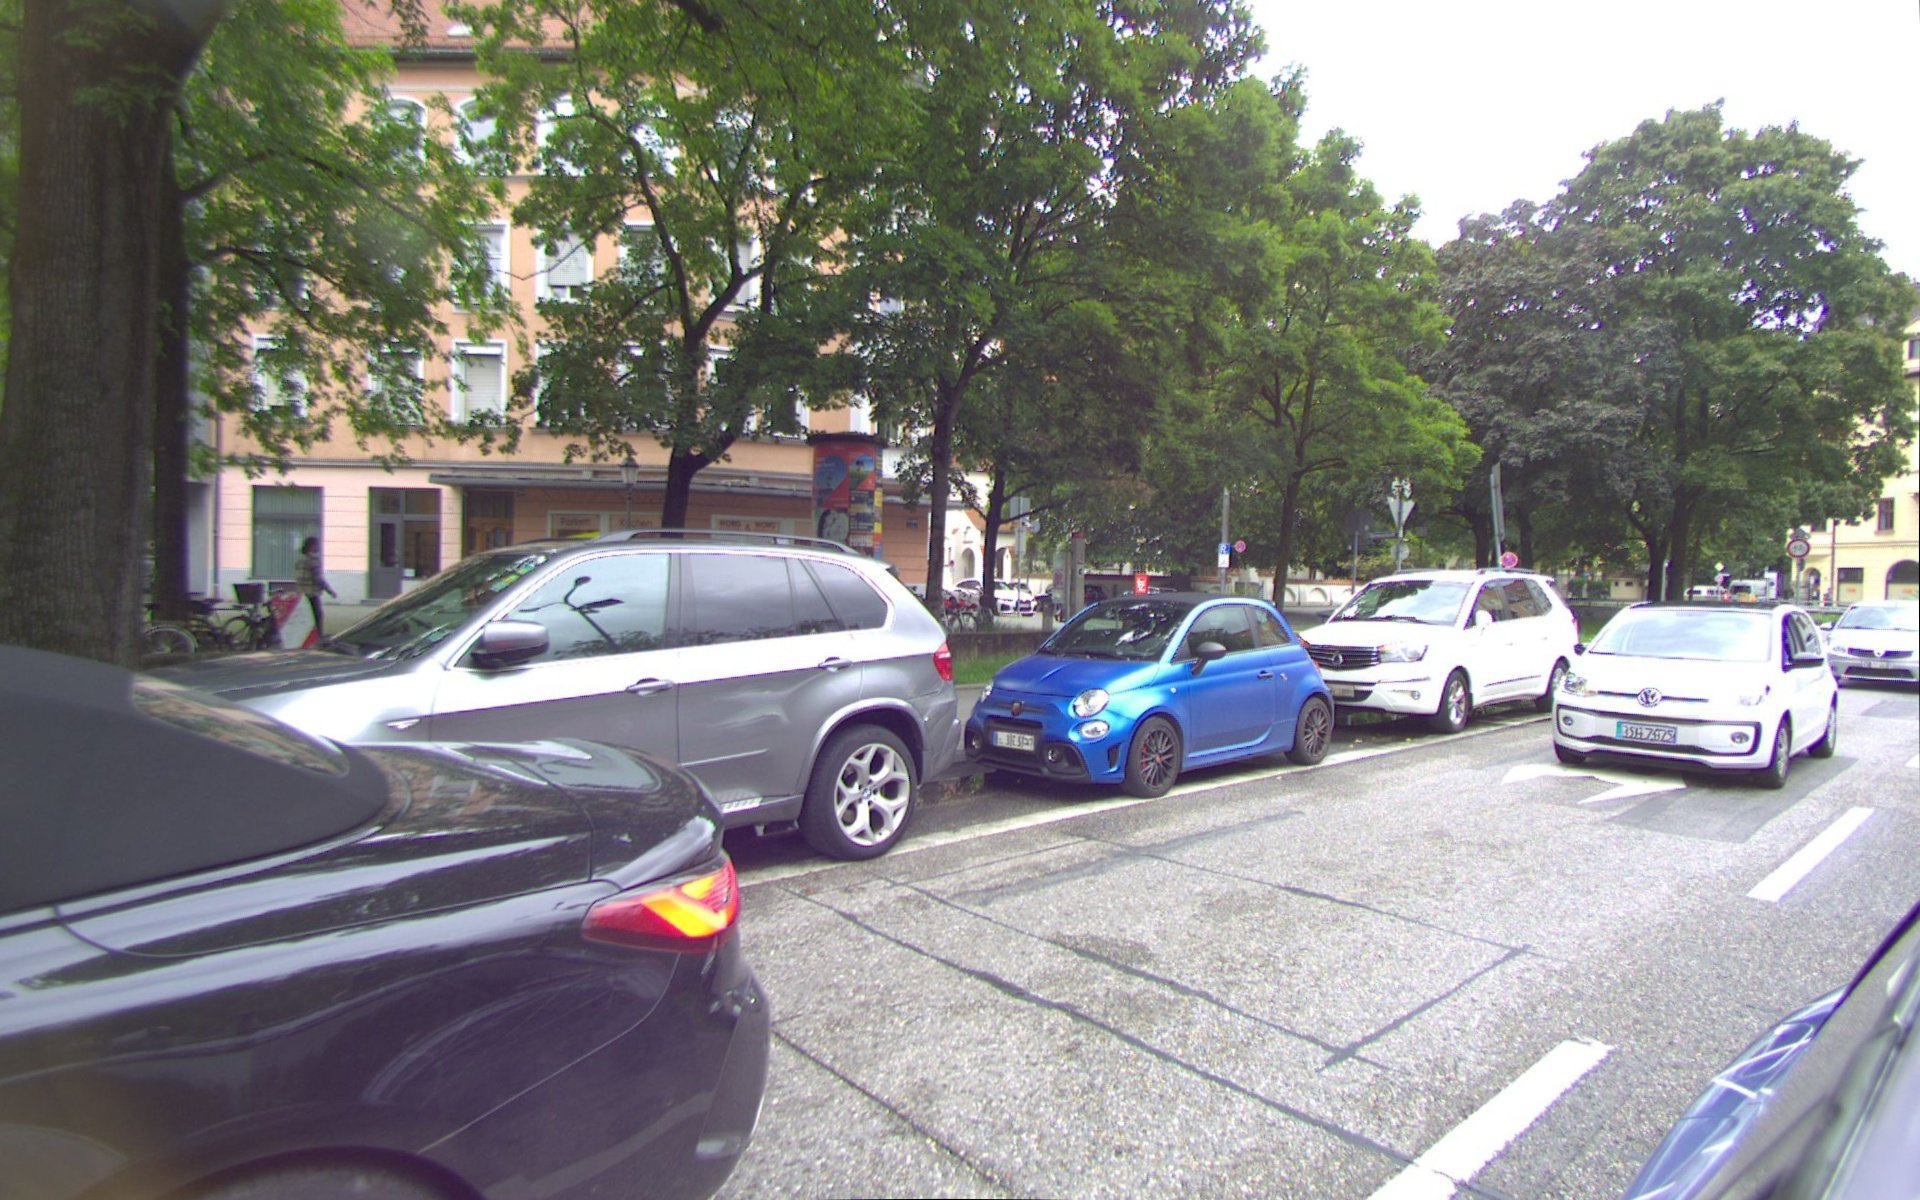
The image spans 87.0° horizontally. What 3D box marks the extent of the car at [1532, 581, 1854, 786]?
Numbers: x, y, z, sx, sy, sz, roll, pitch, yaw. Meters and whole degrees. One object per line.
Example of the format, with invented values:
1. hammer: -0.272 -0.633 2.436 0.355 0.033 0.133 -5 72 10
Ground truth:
1. car: 6.821 0.606 9.296 3.557 1.484 1.647 0 2 -42

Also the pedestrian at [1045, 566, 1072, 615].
1. pedestrian: 3.213 -0.300 33.007 0.632 1.571 0.603 0 0 -35

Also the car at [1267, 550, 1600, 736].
1. car: 6.002 0.405 12.512 4.935 1.879 1.847 0 2 -41

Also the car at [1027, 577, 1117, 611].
1. car: 5.136 -0.298 46.916 1.824 1.485 4.446 -1 1 -31

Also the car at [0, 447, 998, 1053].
1. car: -2.037 0.422 5.316 1.933 1.842 4.480 2 2 45

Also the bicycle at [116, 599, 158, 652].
1. bicycle: -11.973 0.359 14.737 0.313 0.732 1.179 0 0 -32

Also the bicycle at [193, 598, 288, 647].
1. bicycle: -11.112 0.342 15.660 1.154 0.732 0.320 -1 0 -19

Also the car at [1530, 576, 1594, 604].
1. car: 45.197 -0.723 76.028 1.959 2.039 4.007 0 1 -10

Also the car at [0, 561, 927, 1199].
1. car: -2.421 0.637 1.247 4.714 1.406 1.727 0 2 -41

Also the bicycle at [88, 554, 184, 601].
1. bicycle: -23.253 -0.632 28.577 2.204 1.306 0.507 0 0 -4

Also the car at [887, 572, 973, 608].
1. car: -1.361 -0.445 43.851 1.824 1.485 4.447 -1 1 -31

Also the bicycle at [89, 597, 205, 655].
1. bicycle: -10.747 0.329 13.404 1.155 0.732 0.319 -1 0 -30

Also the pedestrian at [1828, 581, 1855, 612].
1. pedestrian: 58.572 -0.227 67.269 0.860 2.039 1.010 0 0 -9

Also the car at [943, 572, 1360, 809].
1. car: 1.729 0.590 8.516 3.598 1.568 1.523 0 2 -41

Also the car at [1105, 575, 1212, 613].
1. car: 8.121 -0.257 41.811 1.824 1.485 4.446 -1 1 -31

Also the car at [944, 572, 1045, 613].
1. car: 1.281 -0.303 39.371 1.824 1.485 4.446 -1 1 -31

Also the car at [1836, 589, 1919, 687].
1. car: 16.825 0.620 17.802 3.820 1.549 1.647 0 2 -42

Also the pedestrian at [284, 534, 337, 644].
1. pedestrian: -11.579 -0.198 18.060 0.617 1.926 0.630 0 0 -13

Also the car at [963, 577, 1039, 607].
1. car: 2.090 -0.432 52.547 1.824 1.485 4.446 -1 1 -31

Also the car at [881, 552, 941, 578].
1. car: -3.024 -2.096 61.441 1.824 1.485 4.447 -1 1 -31

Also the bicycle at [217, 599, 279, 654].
1. bicycle: -9.925 0.352 14.135 0.312 0.732 1.181 0 0 -15
